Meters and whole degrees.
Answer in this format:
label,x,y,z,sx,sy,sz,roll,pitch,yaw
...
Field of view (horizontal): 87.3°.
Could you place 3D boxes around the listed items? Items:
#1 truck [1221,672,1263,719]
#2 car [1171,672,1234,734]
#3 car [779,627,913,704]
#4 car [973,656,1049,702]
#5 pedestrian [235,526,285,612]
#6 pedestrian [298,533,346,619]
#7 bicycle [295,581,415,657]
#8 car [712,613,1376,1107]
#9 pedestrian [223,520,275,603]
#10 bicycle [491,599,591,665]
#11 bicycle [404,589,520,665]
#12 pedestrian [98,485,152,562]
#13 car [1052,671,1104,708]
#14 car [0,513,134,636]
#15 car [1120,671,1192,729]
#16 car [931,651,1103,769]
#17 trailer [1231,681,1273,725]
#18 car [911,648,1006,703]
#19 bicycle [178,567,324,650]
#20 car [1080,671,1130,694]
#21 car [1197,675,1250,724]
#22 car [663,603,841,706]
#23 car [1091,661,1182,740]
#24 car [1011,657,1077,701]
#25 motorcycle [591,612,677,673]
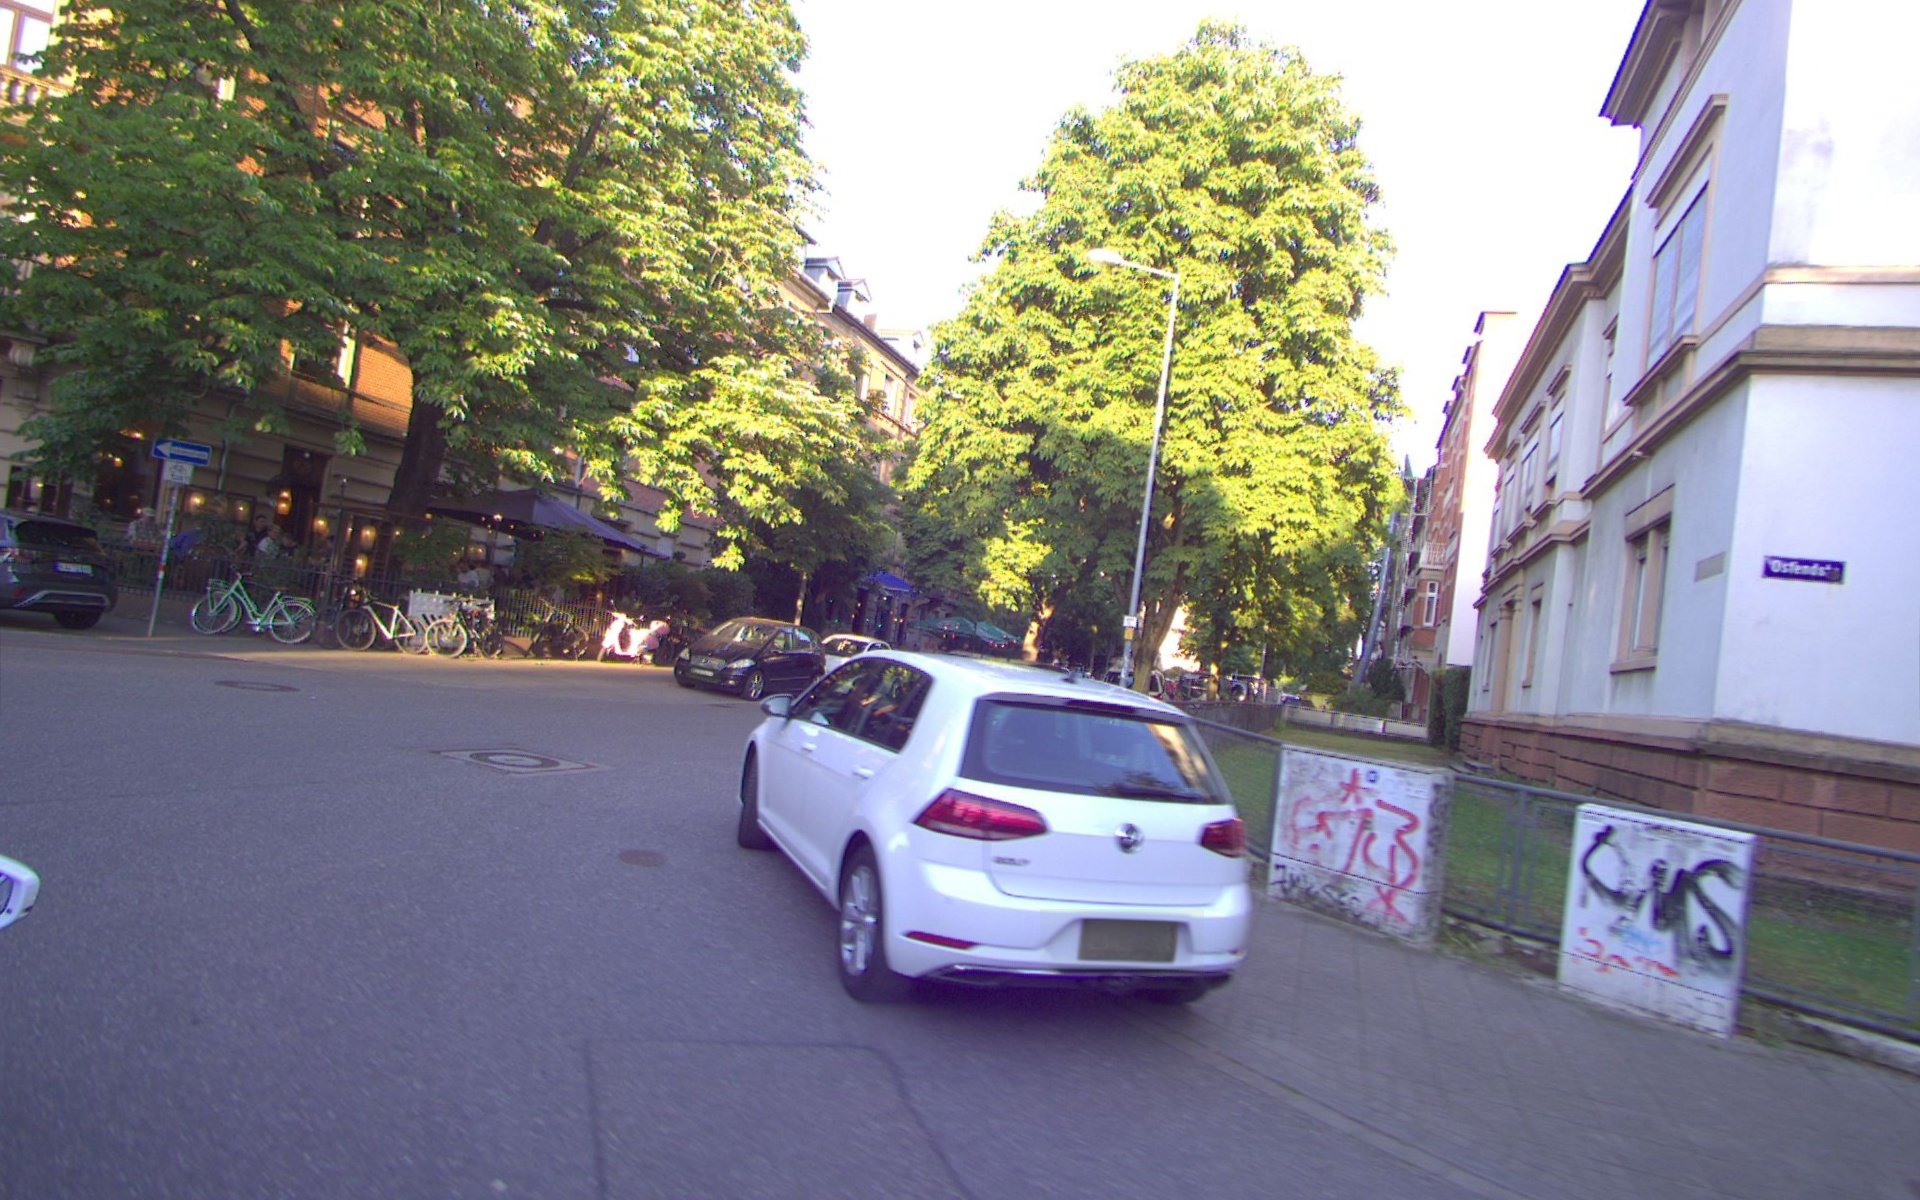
label,x,y,z,sx,sy,sz,roll,pitch,yaw
truck,15.451,5.219,54.983,1.923,2.271,4.650,4,-3,18
car,9.455,3.938,38.948,1.923,2.082,4.836,4,-3,18
car,-2.755,1.690,25.190,1.639,1.509,3.714,10,-2,20
car,2.023,3.093,38.934,1.579,1.451,3.889,10,-2,22
pedestrian,-12.484,-0.547,17.953,0.422,1.468,0.463,7,-1,-10
pedestrian,-11.442,-0.422,18.061,0.422,1.468,0.463,7,-1,-10
bicycle,-10.262,0.345,17.120,0.385,1.157,1.745,5,-2,25
car,-0.051,1.028,5.561,1.790,1.517,4.152,10,-3,-22
pedestrian,-13.868,-0.736,19.628,0.515,1.537,0.463,7,-1,-10
bicycle,-8.847,0.700,21.350,0.386,1.156,1.956,9,-2,31
bicycle,-9.197,0.538,18.674,0.385,1.198,1.958,10,-2,25
pedestrian,-16.559,-1.512,19.956,0.514,1.429,0.464,7,-1,7
car,5.612,4.228,47.482,1.527,1.502,3.698,6,-3,20
car,-14.085,-0.522,13.962,3.786,1.563,1.634,7,-1,2
car,6.007,3.003,30.497,1.638,1.516,3.698,4,-3,18
car,1.090,1.789,16.829,1.704,1.574,3.966,4,-3,20
trailer,17.439,6.120,59.902,1.924,2.321,4.649,4,-4,21
car,0.039,2.553,33.905,1.811,1.427,4.607,10,-2,16
bicycle,-11.543,0.152,16.421,1.802,1.111,0.391,8,-1,-17
car,13.290,7.537,92.143,4.037,1.464,1.707,7,-2,31
car,12.258,4.584,46.627,1.811,1.964,4.618,4,-3,20
car,-4.219,1.205,21.070,1.639,1.696,3.851,10,-2,21
car,4.571,2.535,25.645,1.638,1.697,4.125,4,-3,18
car,3.635,3.392,42.924,1.528,1.502,3.697,10,-2,23
motorcycle,-7.495,0.995,23.231,0.386,1.198,1.956,8,-2,31
